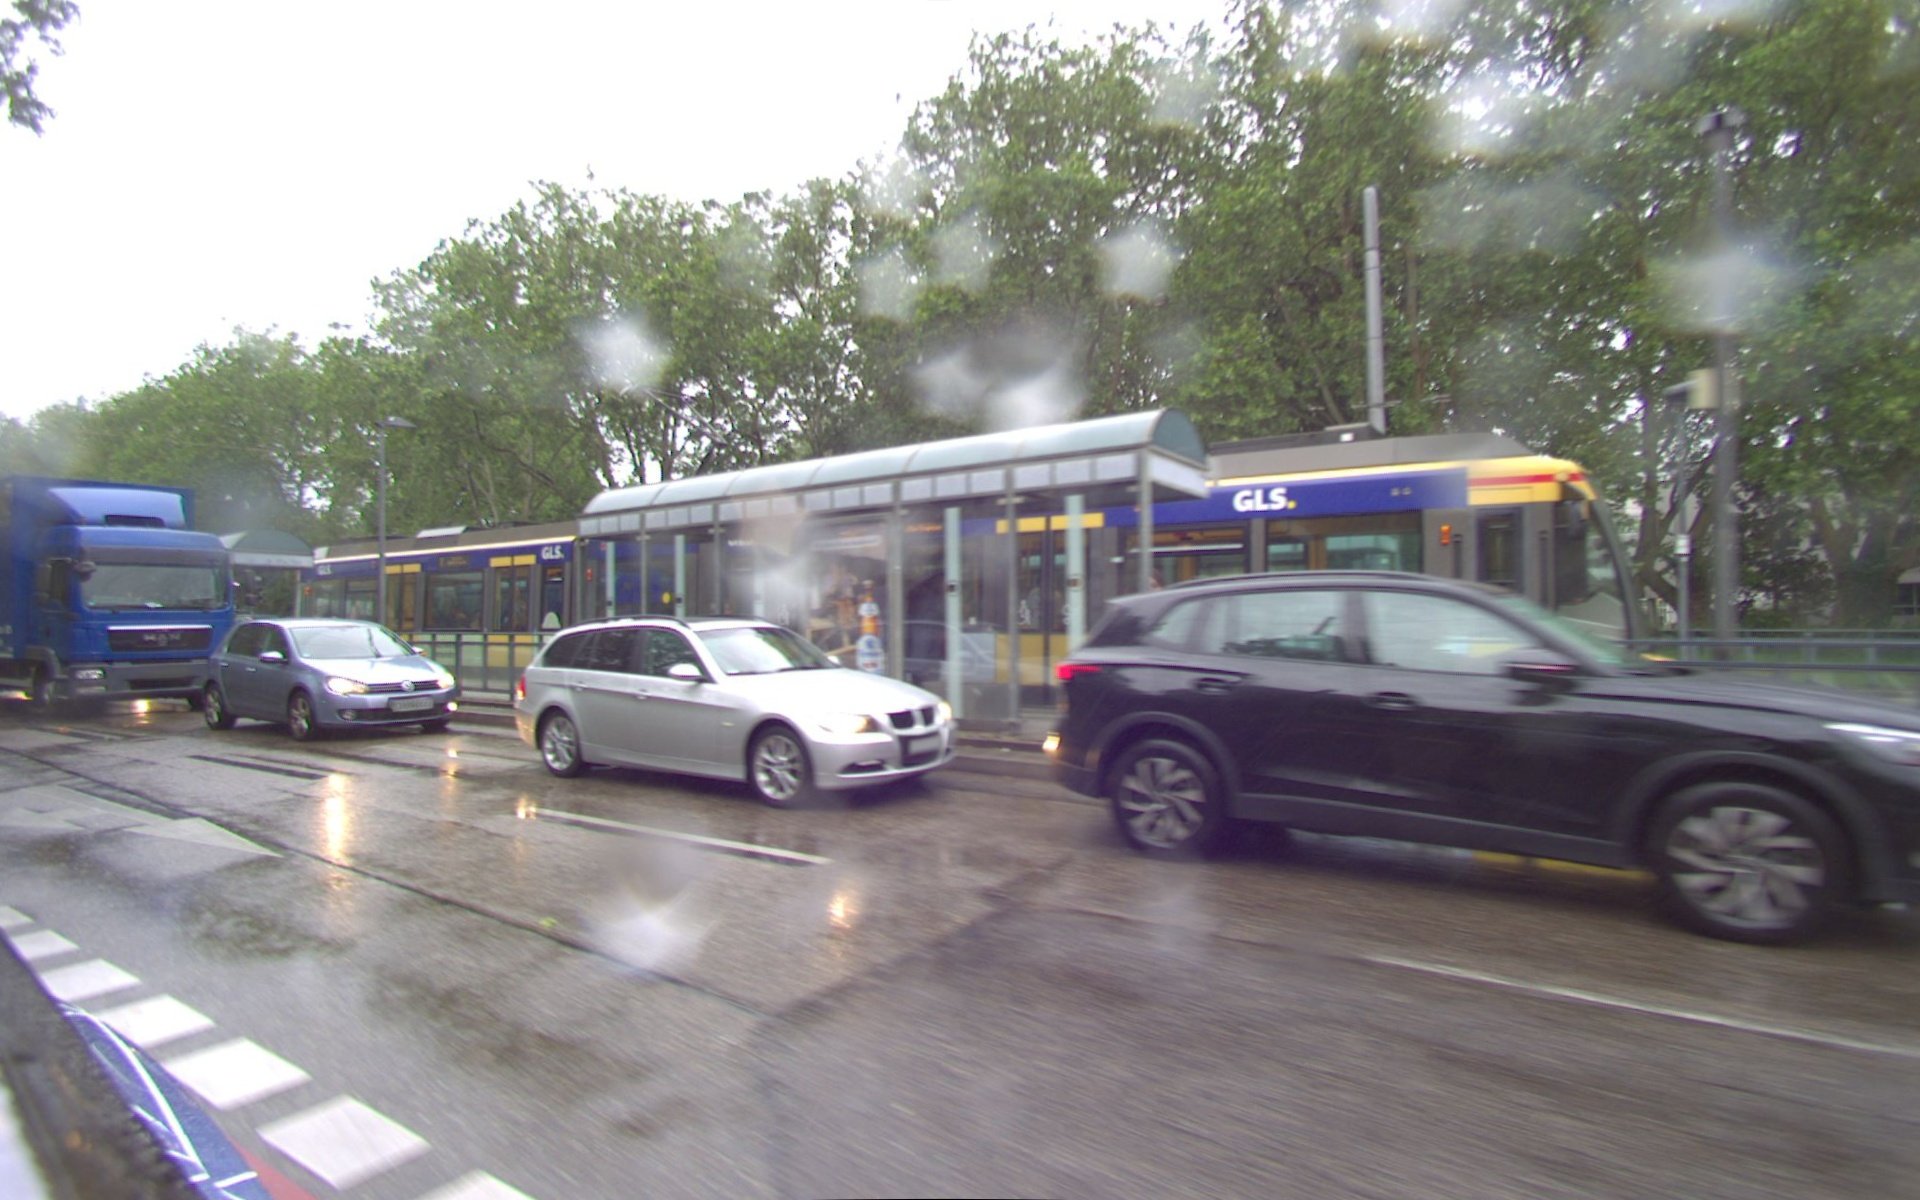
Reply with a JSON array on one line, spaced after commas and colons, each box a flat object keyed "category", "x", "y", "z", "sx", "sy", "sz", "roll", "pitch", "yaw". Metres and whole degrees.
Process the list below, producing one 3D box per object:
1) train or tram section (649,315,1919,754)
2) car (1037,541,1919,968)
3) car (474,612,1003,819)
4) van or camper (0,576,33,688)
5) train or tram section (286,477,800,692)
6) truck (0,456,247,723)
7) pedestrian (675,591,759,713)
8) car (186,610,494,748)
[{"category": "train or tram section", "x": 2.237, "y": -0.429, "z": 13.766, "sx": 15.466, "sy": 3.438, "sz": 3.511, "roll": -1, "pitch": 1, "yaw": 35}, {"category": "car", "x": 2.793, "y": 0.625, "z": 5.638, "sx": 4.308, "sy": 1.633, "sz": 1.978, "roll": -1, "pitch": -1, "yaw": 33}, {"category": "car", "x": -2.081, "y": 0.844, "z": 9.001, "sx": 4.593, "sy": 1.405, "sz": 1.977, "roll": -1, "pitch": -2, "yaw": 33}, {"category": "van or camper", "x": -25.121, "y": 0.822, "z": 24.901, "sx": 6.415, "sy": 2.589, "sz": 1.977, "roll": -1, "pitch": 1, "yaw": 35}, {"category": "train or tram section", "x": -9.704, "y": -0.189, "z": 22.026, "sx": 13.627, "sy": 3.538, "sz": 3.483, "roll": -1, "pitch": 1, "yaw": 35}, {"category": "truck", "x": -16.724, "y": -0.069, "z": 18.619, "sx": 9.783, "sy": 3.919, "sz": 2.518, "roll": -1, "pitch": -1, "yaw": 33}, {"category": "pedestrian", "x": -2.984, "y": 0.625, "z": 12.454, "sx": 0.748, "sy": 1.429, "sz": 0.627, "roll": -1, "pitch": 1, "yaw": 33}, {"category": "car", "x": -8.130, "y": 0.930, "z": 13.189, "sx": 4.066, "sy": 1.498, "sz": 1.875, "roll": -1, "pitch": 0, "yaw": 33}]
